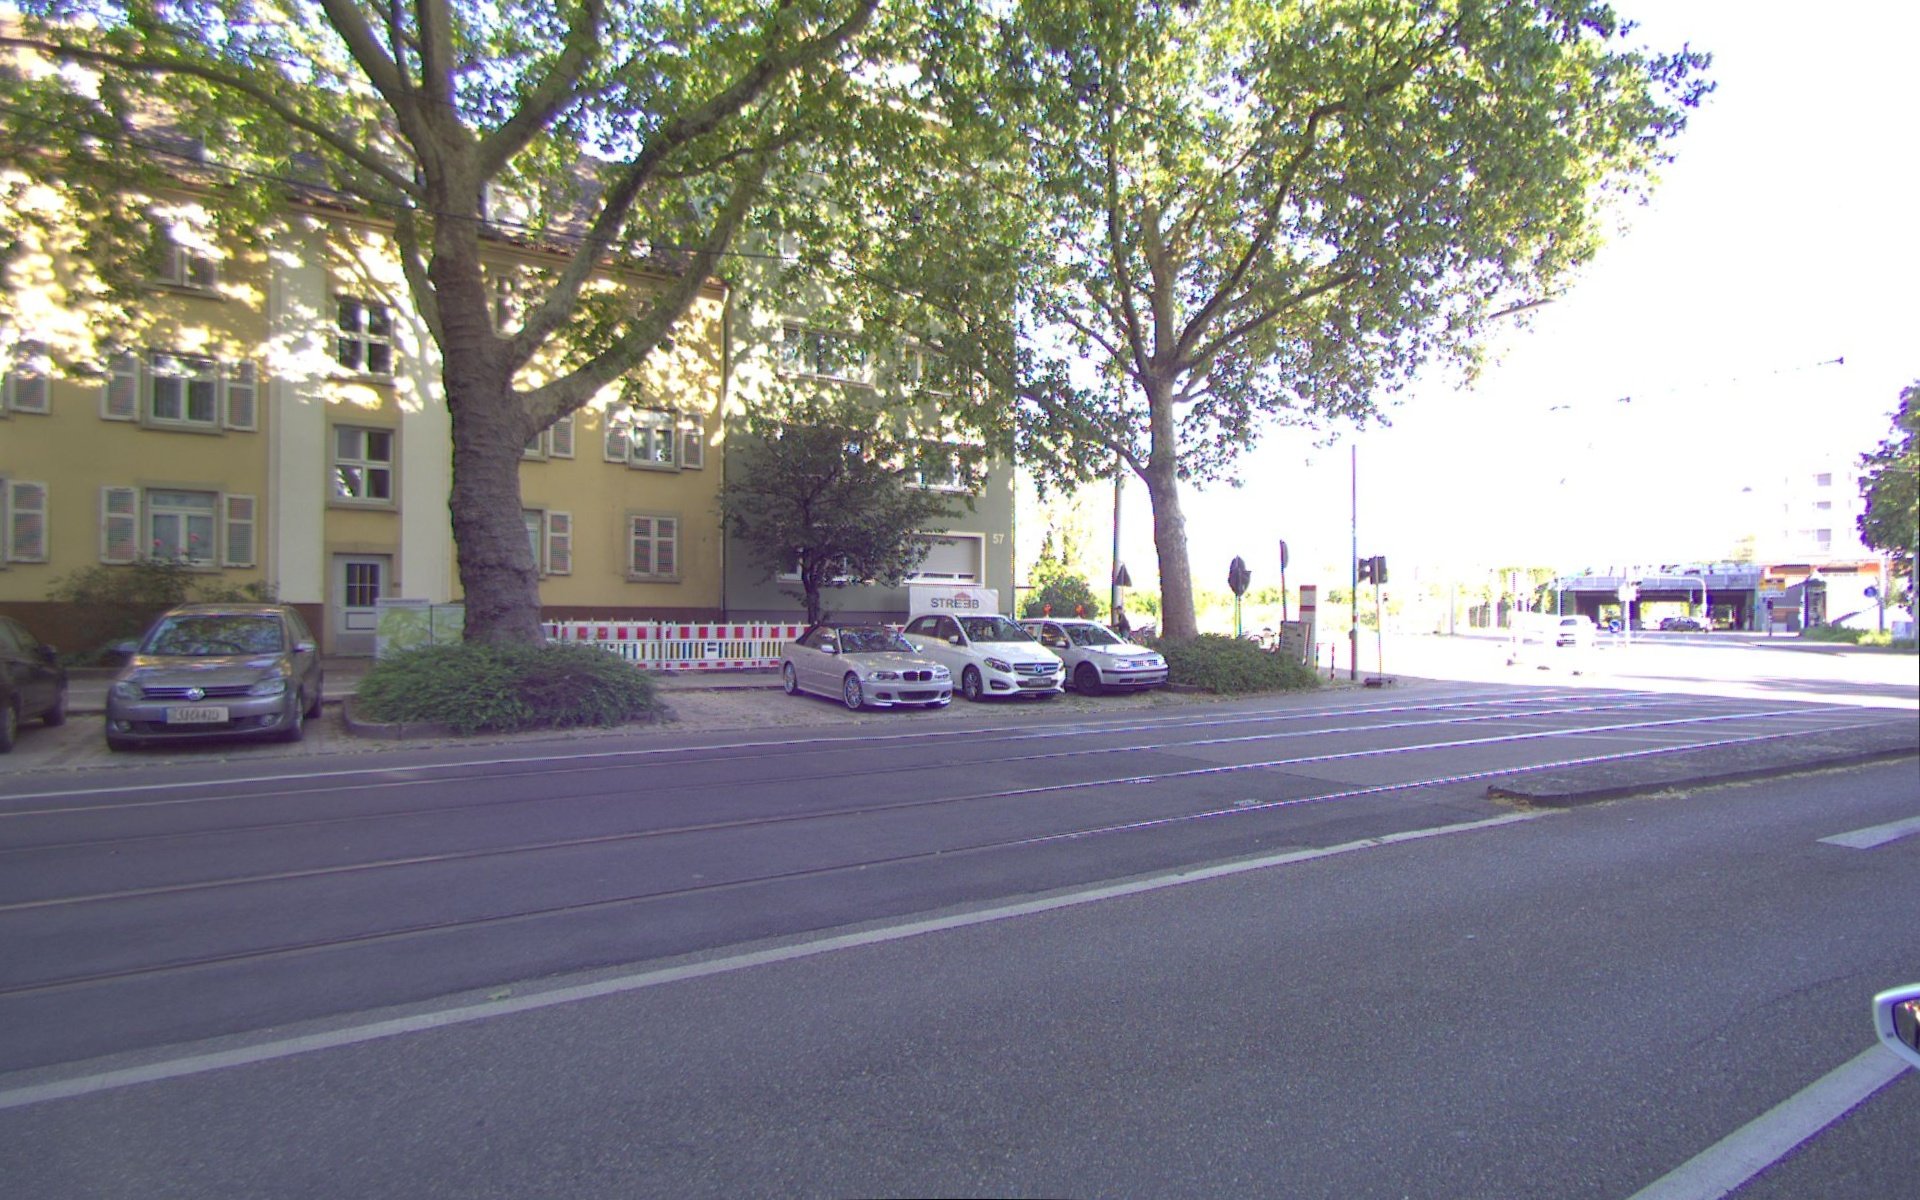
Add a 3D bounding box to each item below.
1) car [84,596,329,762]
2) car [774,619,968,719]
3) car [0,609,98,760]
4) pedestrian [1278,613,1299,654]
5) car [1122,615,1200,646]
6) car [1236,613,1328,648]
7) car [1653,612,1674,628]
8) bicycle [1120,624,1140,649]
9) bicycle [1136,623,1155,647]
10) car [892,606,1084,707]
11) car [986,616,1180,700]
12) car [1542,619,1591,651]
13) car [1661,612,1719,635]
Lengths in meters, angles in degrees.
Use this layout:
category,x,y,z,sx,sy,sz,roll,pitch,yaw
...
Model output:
category,x,y,z,sx,sy,sz,roll,pitch,yaw
car,-8.976,0.817,12.328,1.822,1.641,4.052,2,0,-29
car,-1.658,1.090,17.282,1.822,1.387,4.052,2,0,-29
car,-11.413,0.867,11.417,1.673,1.466,3.834,2,0,-29
pedestrian,13.200,1.326,40.372,0.591,1.617,0.682,2,0,35
car,11.524,1.727,57.588,3.933,1.439,1.887,0,5,35
car,16.196,1.518,50.714,4.218,1.551,2.097,2,0,12
car,89.044,2.526,127.153,1.966,2.040,3.989,2,0,34
bicycle,5.485,1.160,32.389,0.351,0.769,1.781,0,-1,18
bicycle,6.363,1.186,34.463,0.351,0.769,1.781,0,-1,1
car,0.406,0.987,19.173,1.822,1.633,4.052,2,0,-29
car,2.407,1.120,20.555,1.688,1.436,3.960,2,0,-36
car,33.501,1.884,55.590,1.963,1.653,4.625,0,-1,27
car,69.296,2.224,95.416,1.973,2.040,3.975,2,0,-25
